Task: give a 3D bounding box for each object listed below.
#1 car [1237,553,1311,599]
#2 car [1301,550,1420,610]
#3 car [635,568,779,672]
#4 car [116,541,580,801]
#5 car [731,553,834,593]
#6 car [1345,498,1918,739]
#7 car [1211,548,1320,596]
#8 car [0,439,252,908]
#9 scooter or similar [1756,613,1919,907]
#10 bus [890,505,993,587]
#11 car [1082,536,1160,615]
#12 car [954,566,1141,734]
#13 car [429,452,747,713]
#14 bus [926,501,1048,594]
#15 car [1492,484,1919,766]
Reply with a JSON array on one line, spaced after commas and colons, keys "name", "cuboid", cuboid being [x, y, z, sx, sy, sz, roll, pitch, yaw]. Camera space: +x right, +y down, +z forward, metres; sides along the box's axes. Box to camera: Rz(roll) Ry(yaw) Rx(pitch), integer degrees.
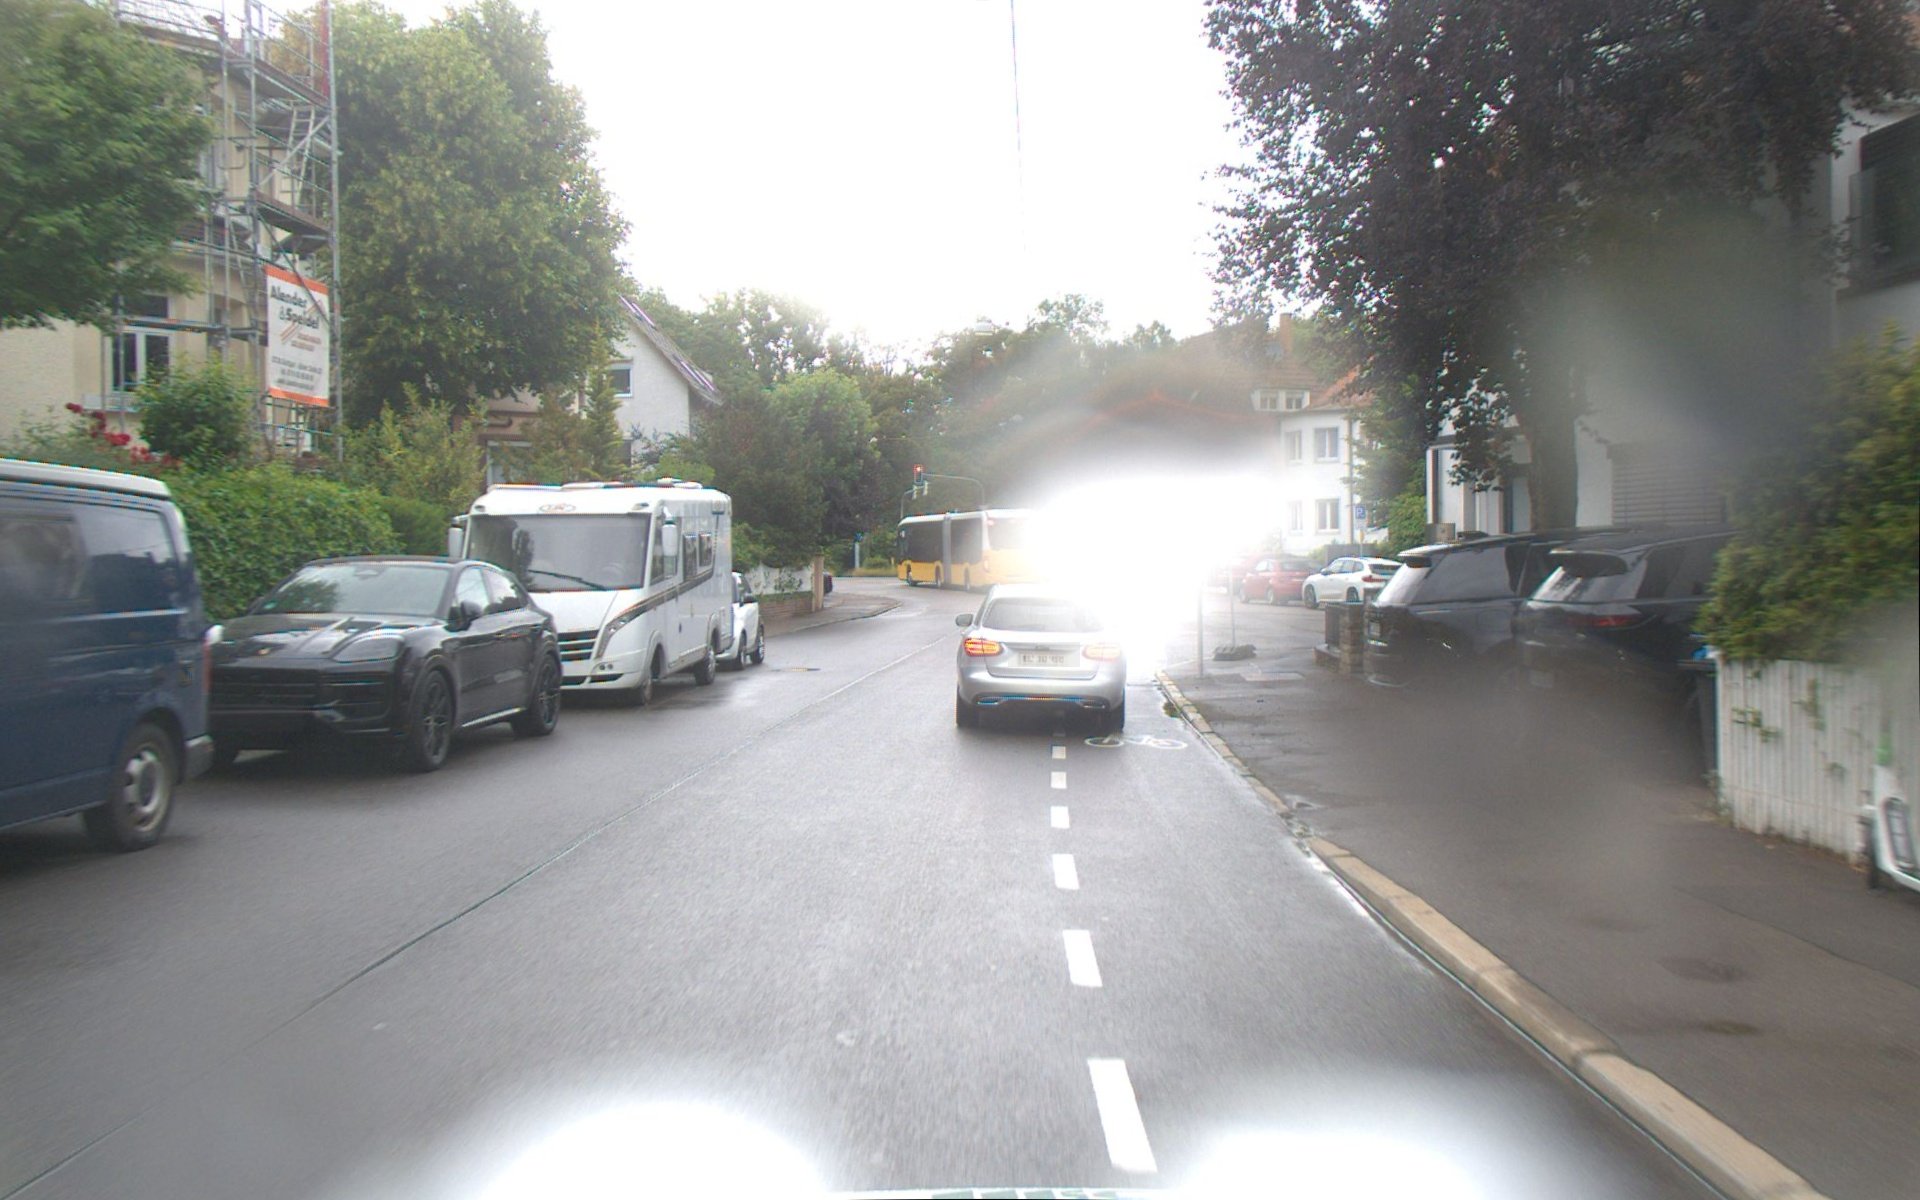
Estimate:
[{"name": "car", "cuboid": [10.511, -0.827, 55.500, 1.186, 1.476, 3.009, 0, 2, -16]}, {"name": "car", "cuboid": [12.147, -0.641, 50.397, 1.777, 1.636, 4.048, 0, 3, -15]}, {"name": "car", "cuboid": [-4.072, 0.281, 27.066, 1.677, 1.472, 3.257, 1, 3, 3]}, {"name": "car", "cuboid": [-4.837, 0.413, 13.940, 1.952, 1.717, 4.680, 1, 3, 3]}, {"name": "car", "cuboid": [-6.892, -1.043, 64.222, 3.910, 1.444, 1.885, 1, 3, -6]}, {"name": "car", "cuboid": [6.204, 0.141, 15.698, 4.567, 1.907, 2.000, -3, 1, 0]}, {"name": "car", "cuboid": [12.206, -1.117, 66.151, 3.911, 1.824, 1.757, 1, 3, -7]}, {"name": "car", "cuboid": [-5.178, 0.316, 7.476, 1.792, 2.092, 5.009, 1, 0, 0]}, {"name": "scooter or similar", "cuboid": [4.277, 0.679, 7.545, 0.447, 1.221, 1.866, 1, 0, 2]}, {"name": "bus", "cuboid": [-1.053, -2.739, 80.356, 2.878, 3.714, 10.271, 0, 3, -13]}, {"name": "car", "cuboid": [4.087, -0.617, 42.508, 1.804, 1.937, 4.002, 1, 0, 3]}, {"name": "car", "cuboid": [0.978, 0.441, 17.940, 1.778, 1.583, 4.002, 1, 1, 4]}, {"name": "car", "cuboid": [-4.509, -0.323, 21.380, 2.341, 2.820, 6.535, 1, 2, 3]}, {"name": "bus", "cuboid": [0.994, -2.385, 71.391, 2.878, 3.714, 10.137, 0, 3, -13]}, {"name": "car", "cuboid": [6.666, 0.094, 12.526, 4.567, 1.844, 2.000, -3, 1, 0]}]
